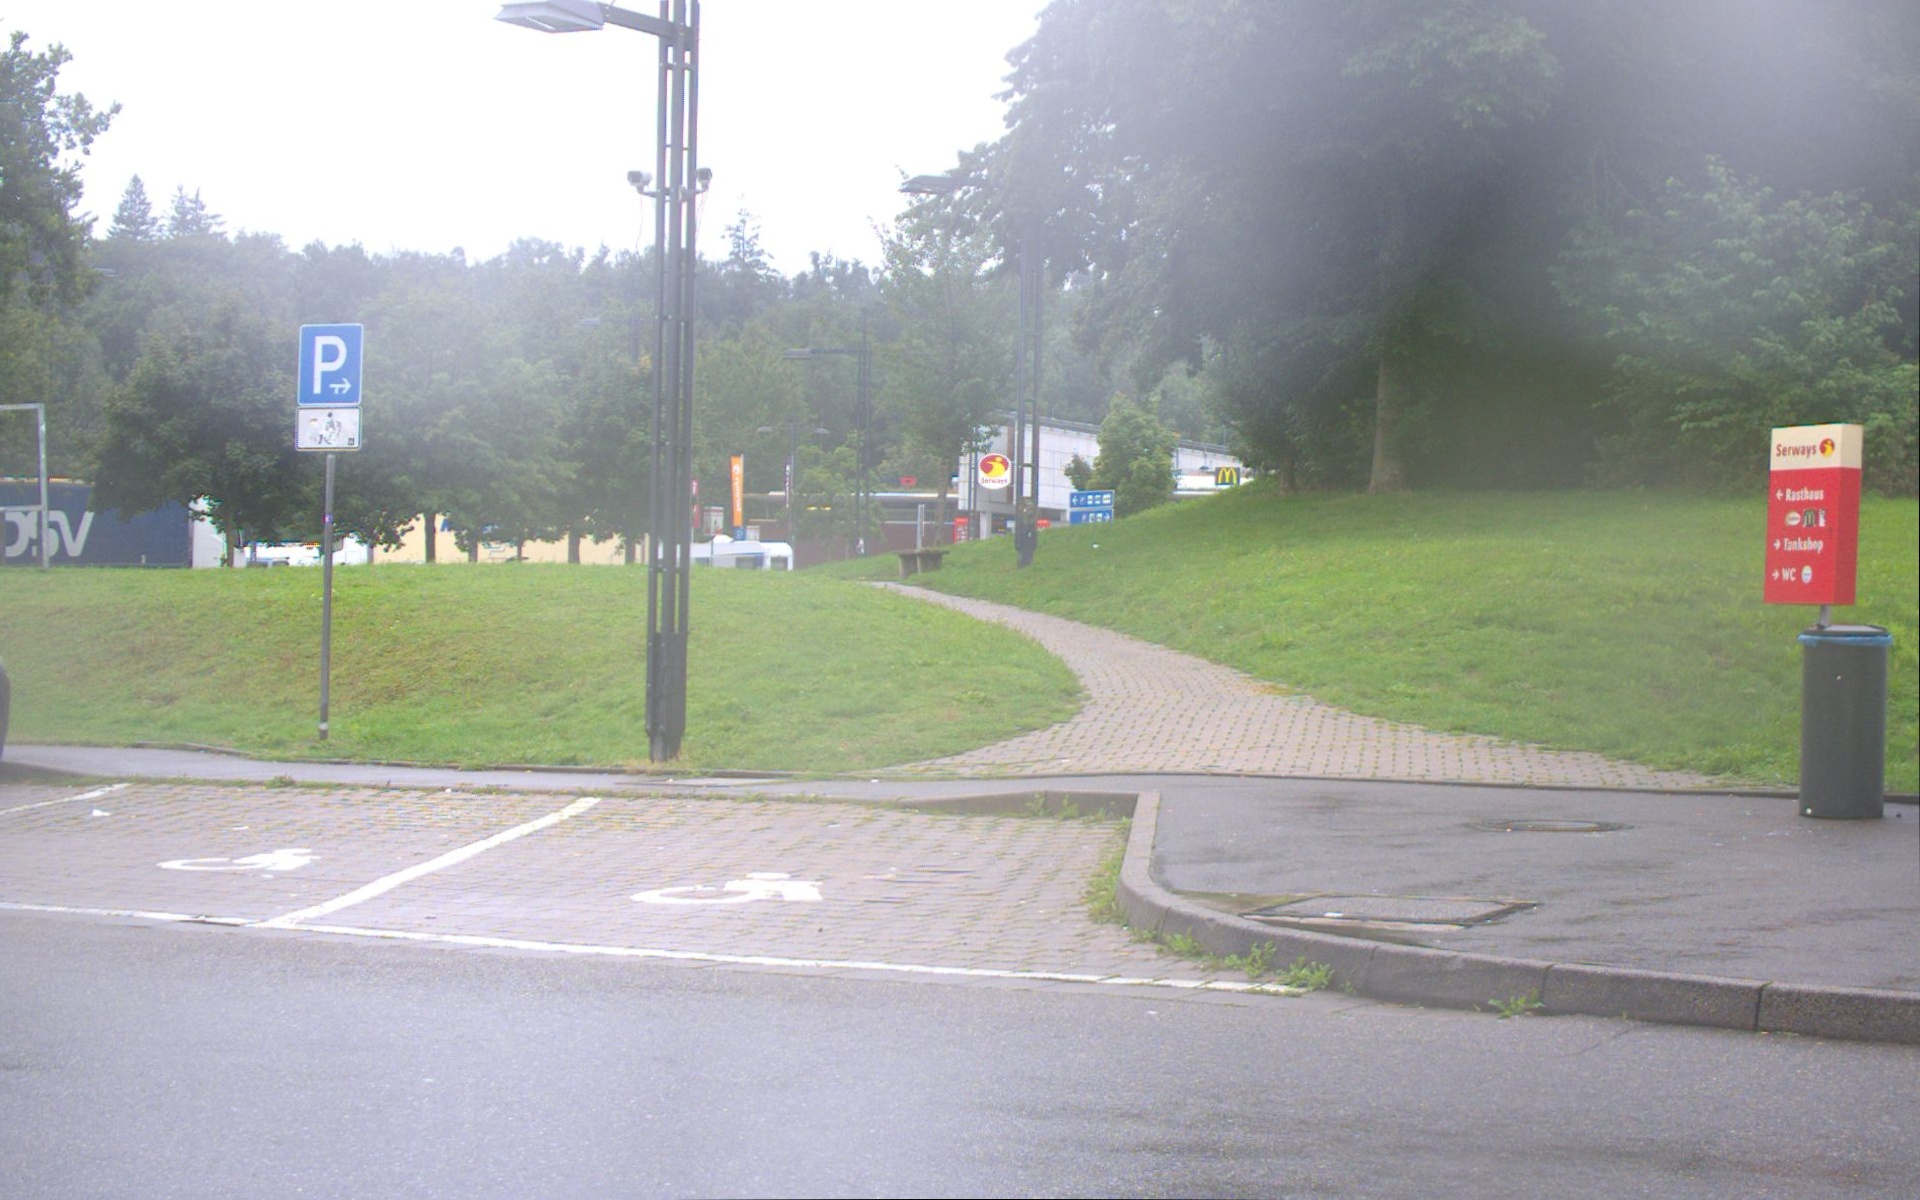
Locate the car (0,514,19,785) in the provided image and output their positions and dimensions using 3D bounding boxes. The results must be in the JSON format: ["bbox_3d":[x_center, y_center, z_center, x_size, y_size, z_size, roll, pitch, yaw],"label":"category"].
[{"bbox_3d":[-7.766,0.372,21.439,1.885,1.821,4.411,0,1,11],"label":"car"}]

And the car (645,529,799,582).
[{"bbox_3d":[-9.259,-1.740,133.766,5.429,2.007,2.453,1,1,20],"label":"car"}]
